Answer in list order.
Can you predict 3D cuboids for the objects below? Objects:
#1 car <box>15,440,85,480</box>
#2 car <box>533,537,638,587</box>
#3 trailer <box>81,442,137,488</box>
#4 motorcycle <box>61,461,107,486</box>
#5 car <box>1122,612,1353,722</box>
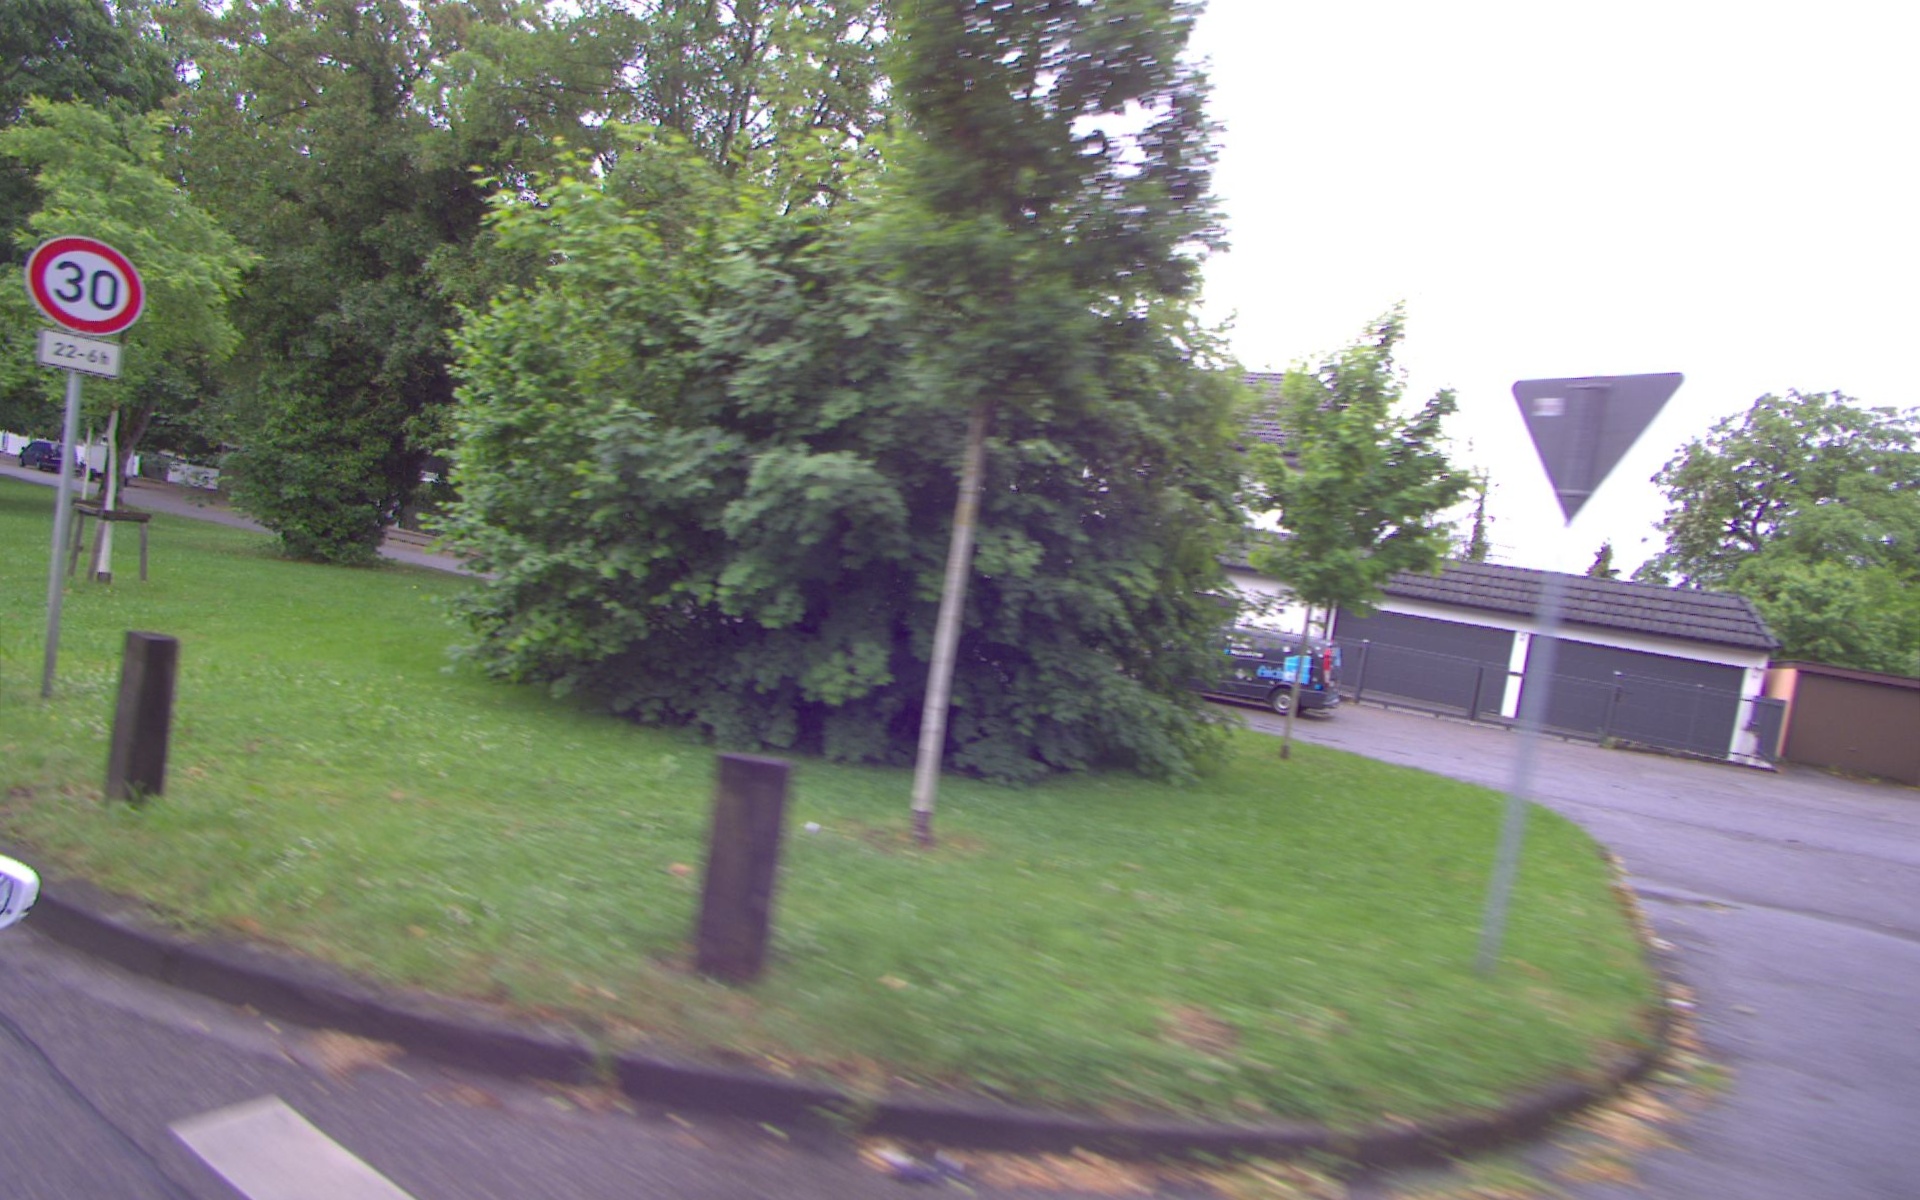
[{"bbox_3d":[-56.619,-8.737,62.587,4.570,1.834,1.941,11,5,31],"label":"car"},{"bbox_3d":[-13.895,-1.415,37.282,3.647,1.394,1.681,8,4,31],"label":"car"},{"bbox_3d":[-48.717,-7.719,57.605,2.899,2.184,1.436,9,5,29],"label":"trailer"},{"bbox_3d":[-51.072,-7.344,58.653,1.875,1.107,0.651,7,4,-37],"label":"motorcycle"},{"bbox_3d":[6.880,1.582,25.070,4.984,1.903,2.161,8,2,31],"label":"car"}]
